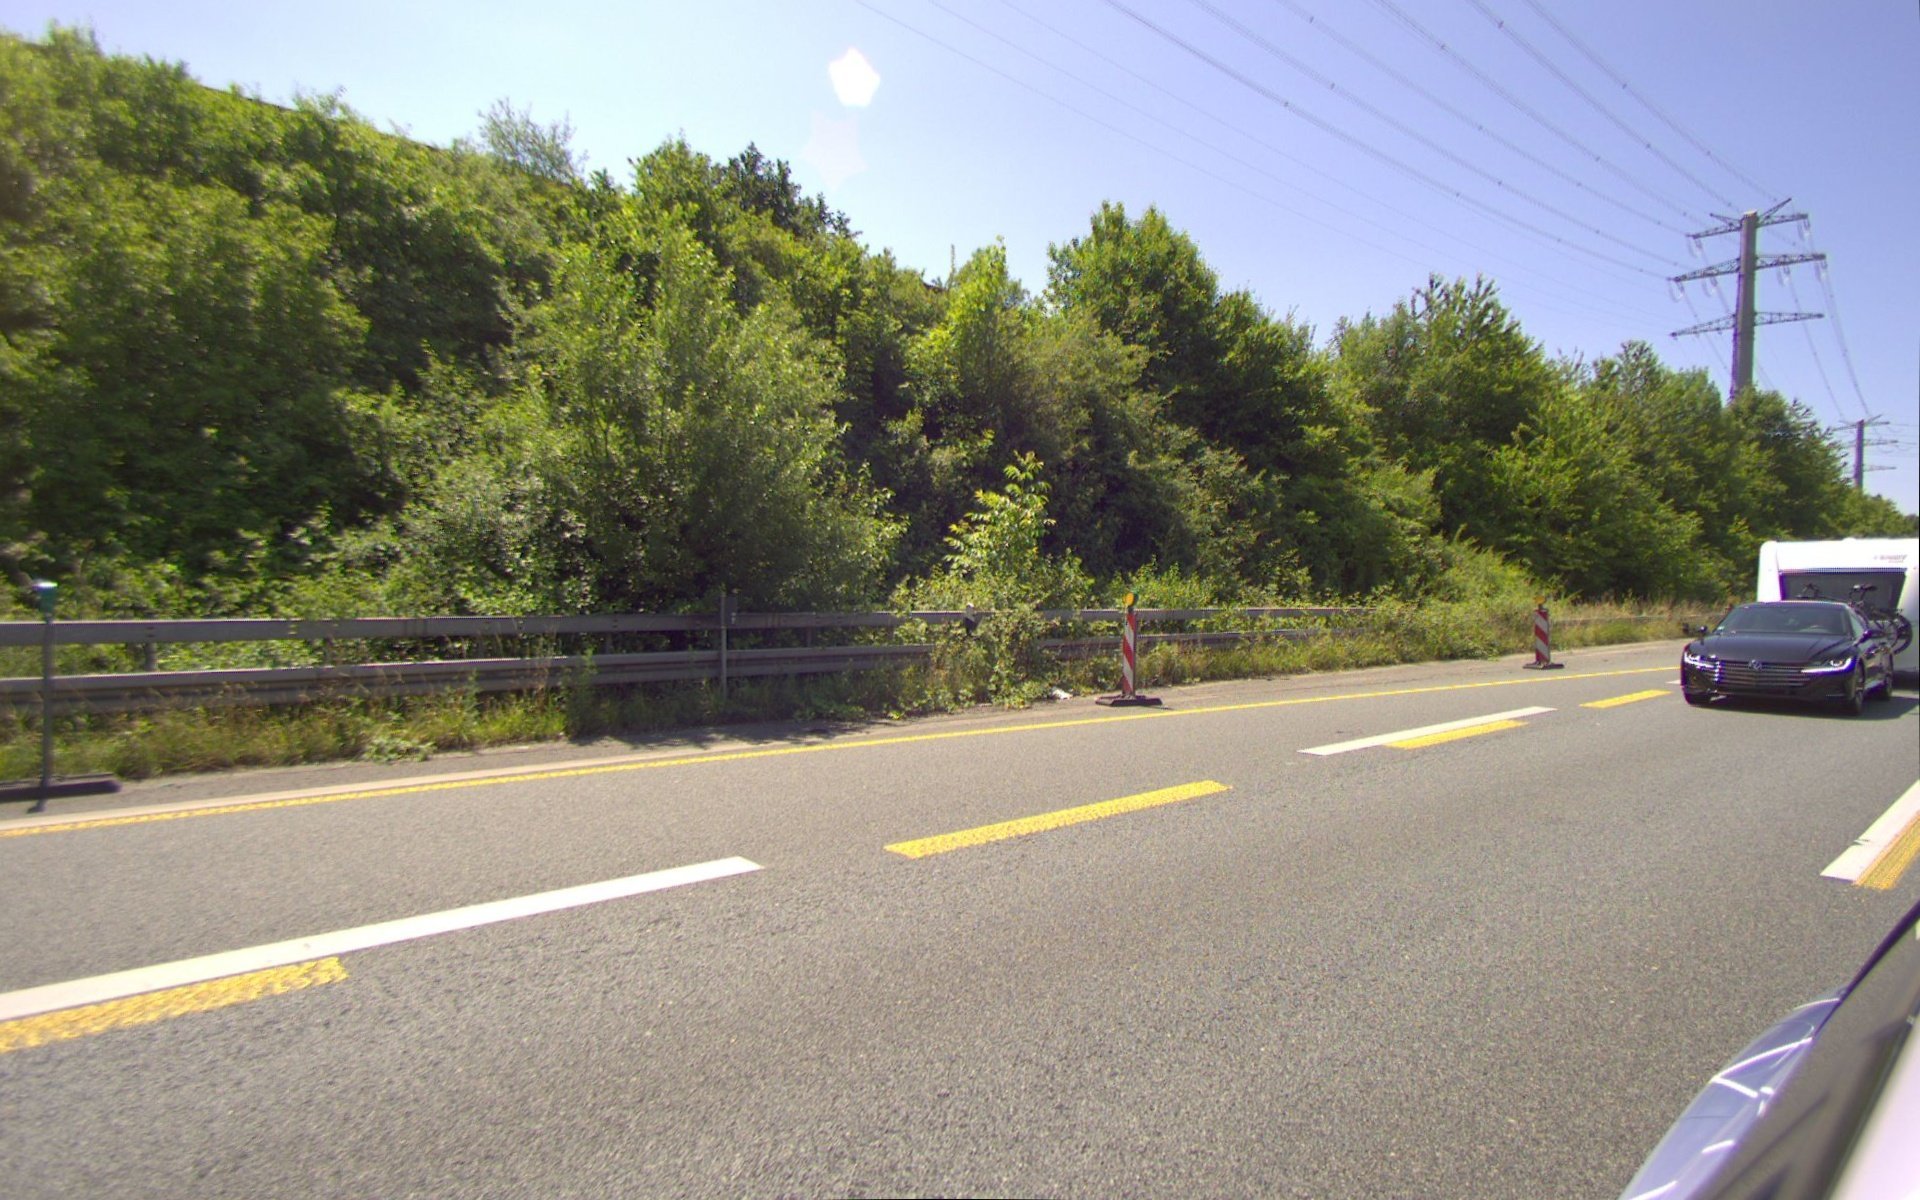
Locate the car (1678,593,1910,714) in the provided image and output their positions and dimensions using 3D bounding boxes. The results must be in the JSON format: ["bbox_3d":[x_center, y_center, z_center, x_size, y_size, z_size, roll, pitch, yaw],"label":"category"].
[{"bbox_3d":[11.588,0.612,13.968,4.136,1.425,1.799,0,0,-41],"label":"car"}]

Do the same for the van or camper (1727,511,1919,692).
[{"bbox_3d":[16.286,-0.007,18.097,8.270,2.597,2.430,0,0,-41],"label":"van or camper"}]
